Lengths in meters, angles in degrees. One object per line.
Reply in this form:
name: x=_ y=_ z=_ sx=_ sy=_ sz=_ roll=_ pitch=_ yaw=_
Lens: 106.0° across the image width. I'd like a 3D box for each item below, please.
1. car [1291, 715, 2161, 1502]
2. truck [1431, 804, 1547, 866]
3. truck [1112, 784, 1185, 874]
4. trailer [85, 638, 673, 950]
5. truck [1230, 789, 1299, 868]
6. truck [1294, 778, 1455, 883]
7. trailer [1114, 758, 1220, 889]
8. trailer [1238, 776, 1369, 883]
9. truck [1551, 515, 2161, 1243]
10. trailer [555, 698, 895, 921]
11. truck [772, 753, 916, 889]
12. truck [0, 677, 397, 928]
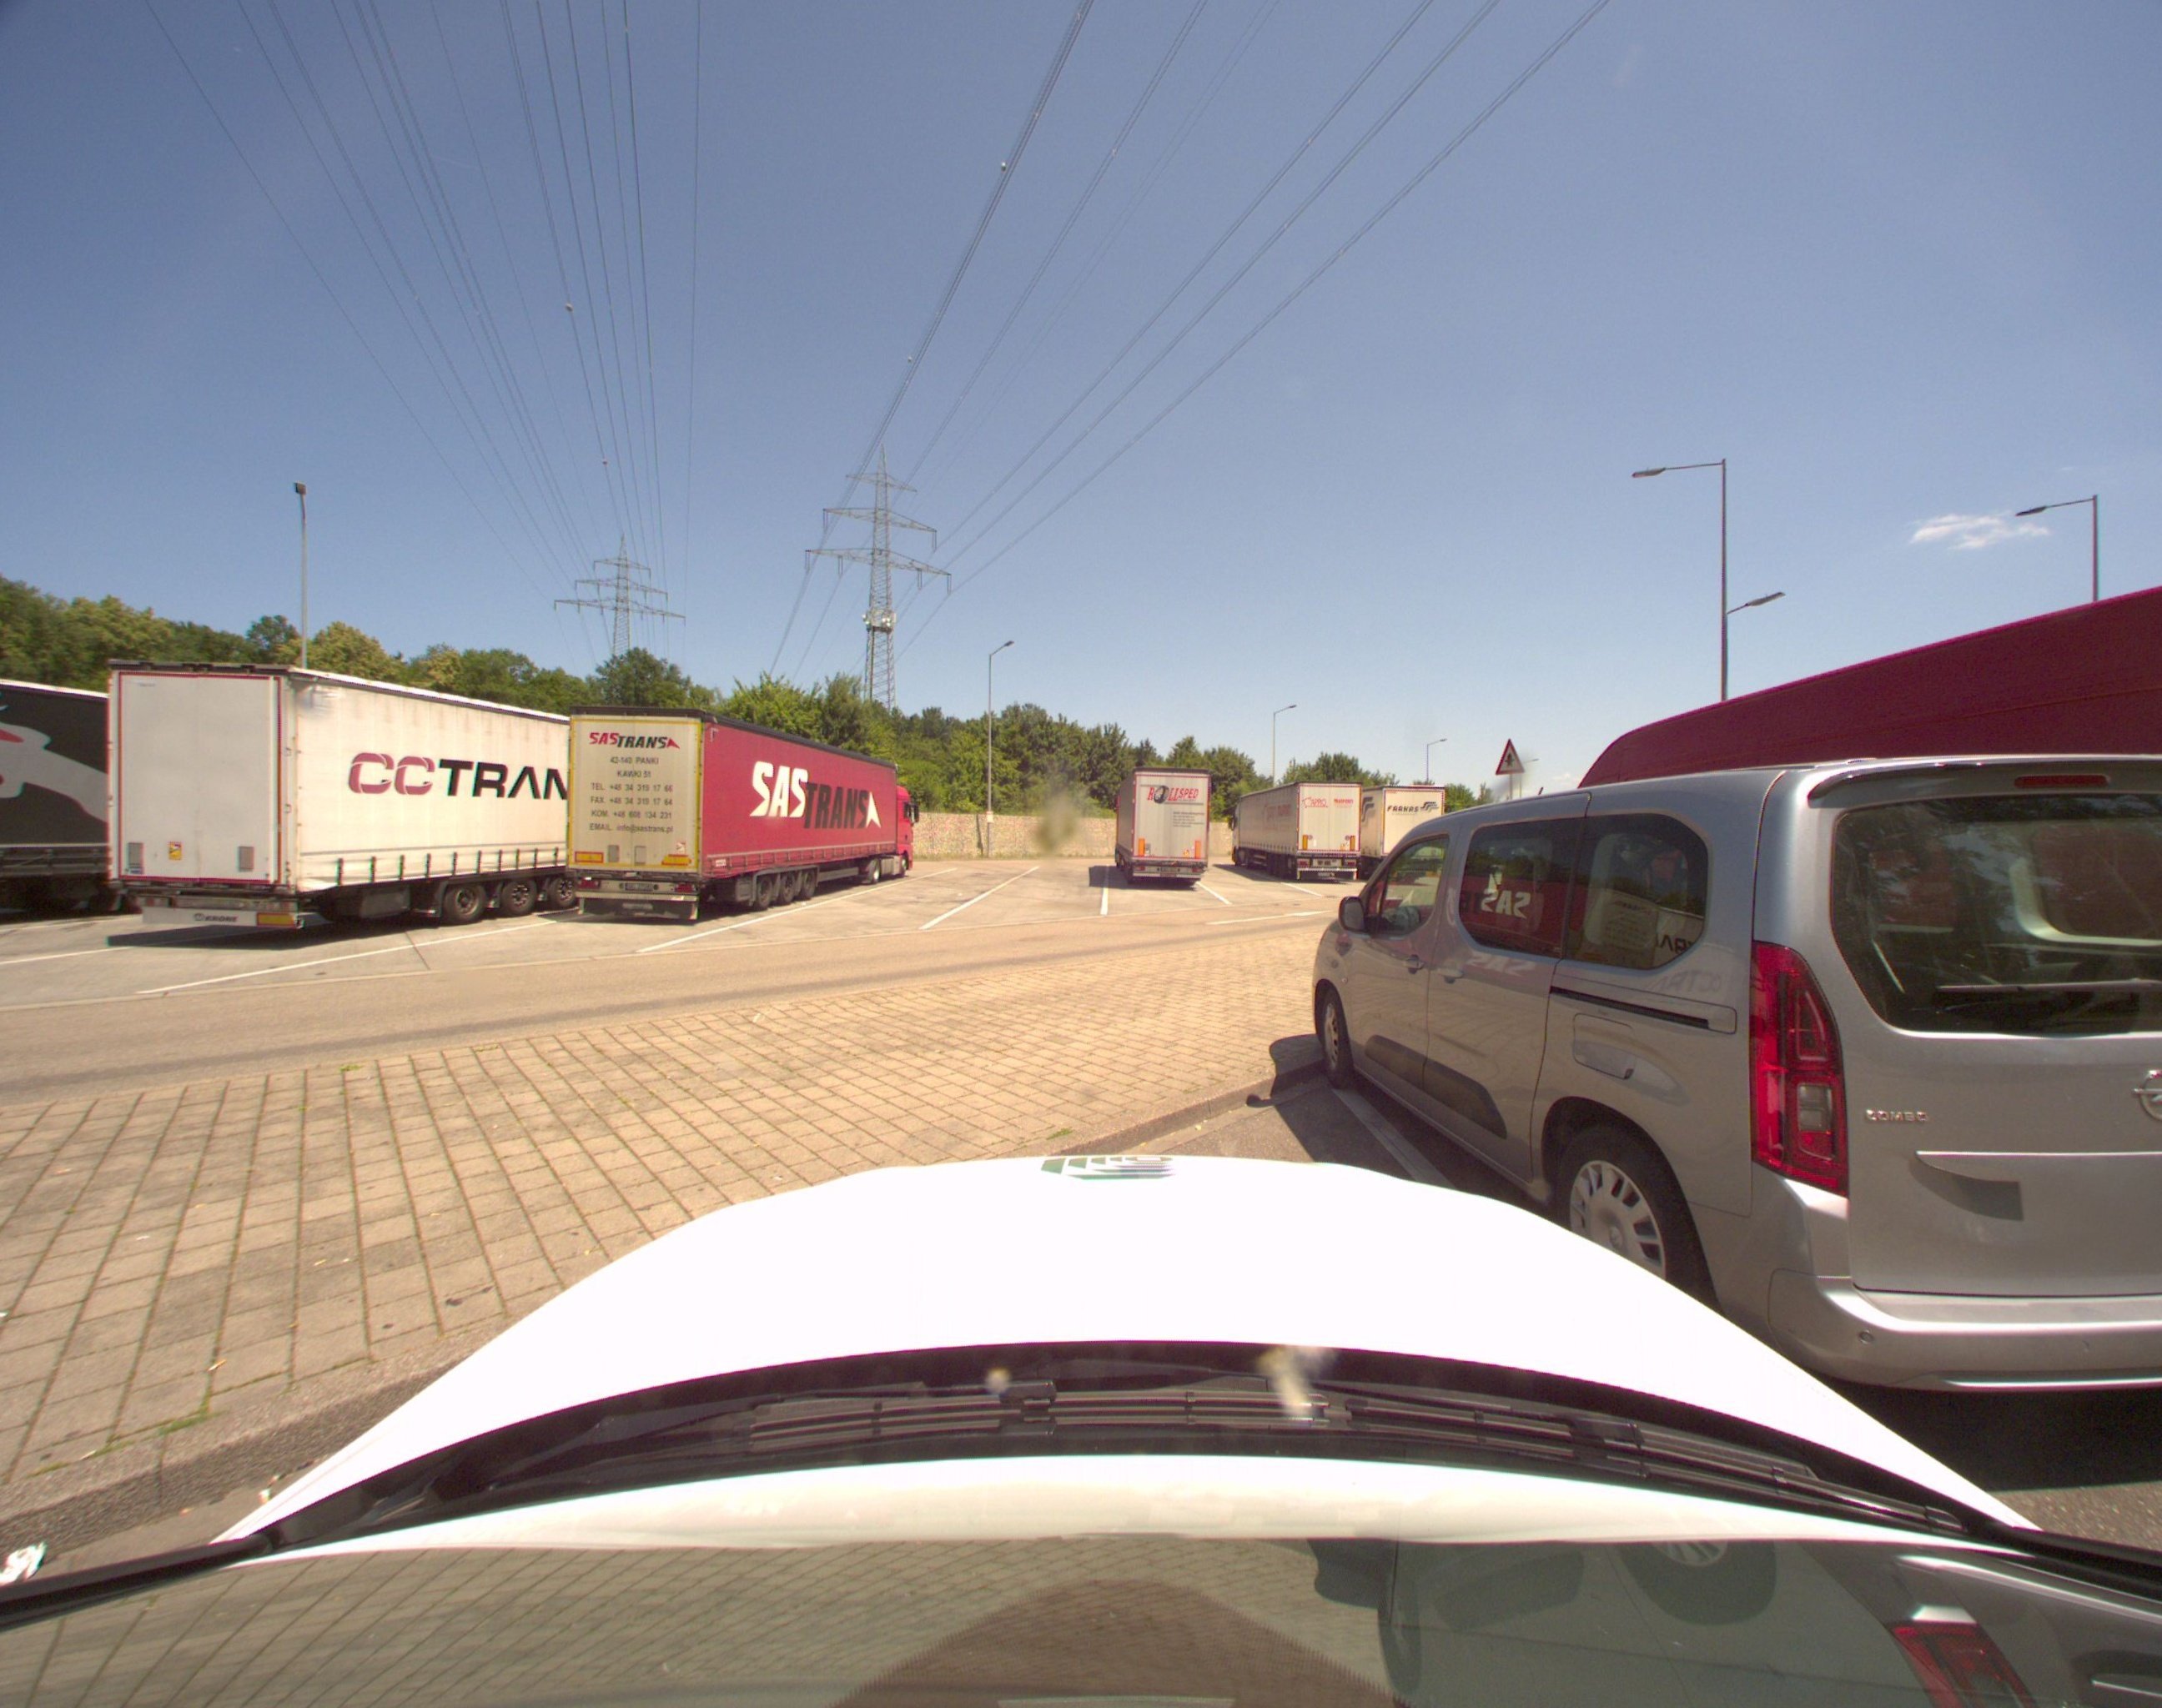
car: x=2.467 y=0.532 z=3.850 sx=1.821 sy=1.753 sz=3.998 roll=-1 pitch=1 yaw=-2
truck: x=24.458 y=-1.128 z=49.435 sx=3.013 sy=3.437 sz=8.534 roll=-1 pitch=1 yaw=2
truck: x=3.124 y=-1.223 z=39.509 sx=3.016 sy=3.928 sz=6.848 roll=1 pitch=2 yaw=1
trailer: x=-12.103 y=-0.897 z=16.070 sx=2.734 sy=4.263 sz=9.740 roll=0 pitch=1 yaw=3
truck: x=10.124 y=-1.395 z=45.411 sx=2.747 sy=4.124 sz=5.286 roll=-1 pitch=1 yaw=2
truck: x=13.571 y=-1.058 z=39.653 sx=2.894 sy=4.124 sz=14.533 roll=2 pitch=1 yaw=2
trailer: x=3.042 y=-1.189 z=32.737 sx=3.059 sy=4.227 sz=12.811 roll=1 pitch=2 yaw=1
trailer: x=9.936 y=-1.067 z=38.409 sx=2.865 sy=4.124 sz=13.577 roll=0 pitch=1 yaw=2
truck: x=5.097 y=0.053 z=4.871 sx=1.983 sy=2.623 sz=5.312 roll=0 pitch=1 yaw=6
trailer: x=-8.048 y=-0.920 z=21.571 sx=2.739 sy=4.057 sz=13.292 roll=-1 pitch=1 yaw=2
truck: x=-7.842 y=-1.053 z=28.013 sx=2.733 sy=4.081 sz=6.832 roll=-1 pitch=1 yaw=1
truck: x=-18.515 y=-0.858 z=15.963 sx=2.627 sy=4.018 sz=8.640 roll=-1 pitch=1 yaw=2
